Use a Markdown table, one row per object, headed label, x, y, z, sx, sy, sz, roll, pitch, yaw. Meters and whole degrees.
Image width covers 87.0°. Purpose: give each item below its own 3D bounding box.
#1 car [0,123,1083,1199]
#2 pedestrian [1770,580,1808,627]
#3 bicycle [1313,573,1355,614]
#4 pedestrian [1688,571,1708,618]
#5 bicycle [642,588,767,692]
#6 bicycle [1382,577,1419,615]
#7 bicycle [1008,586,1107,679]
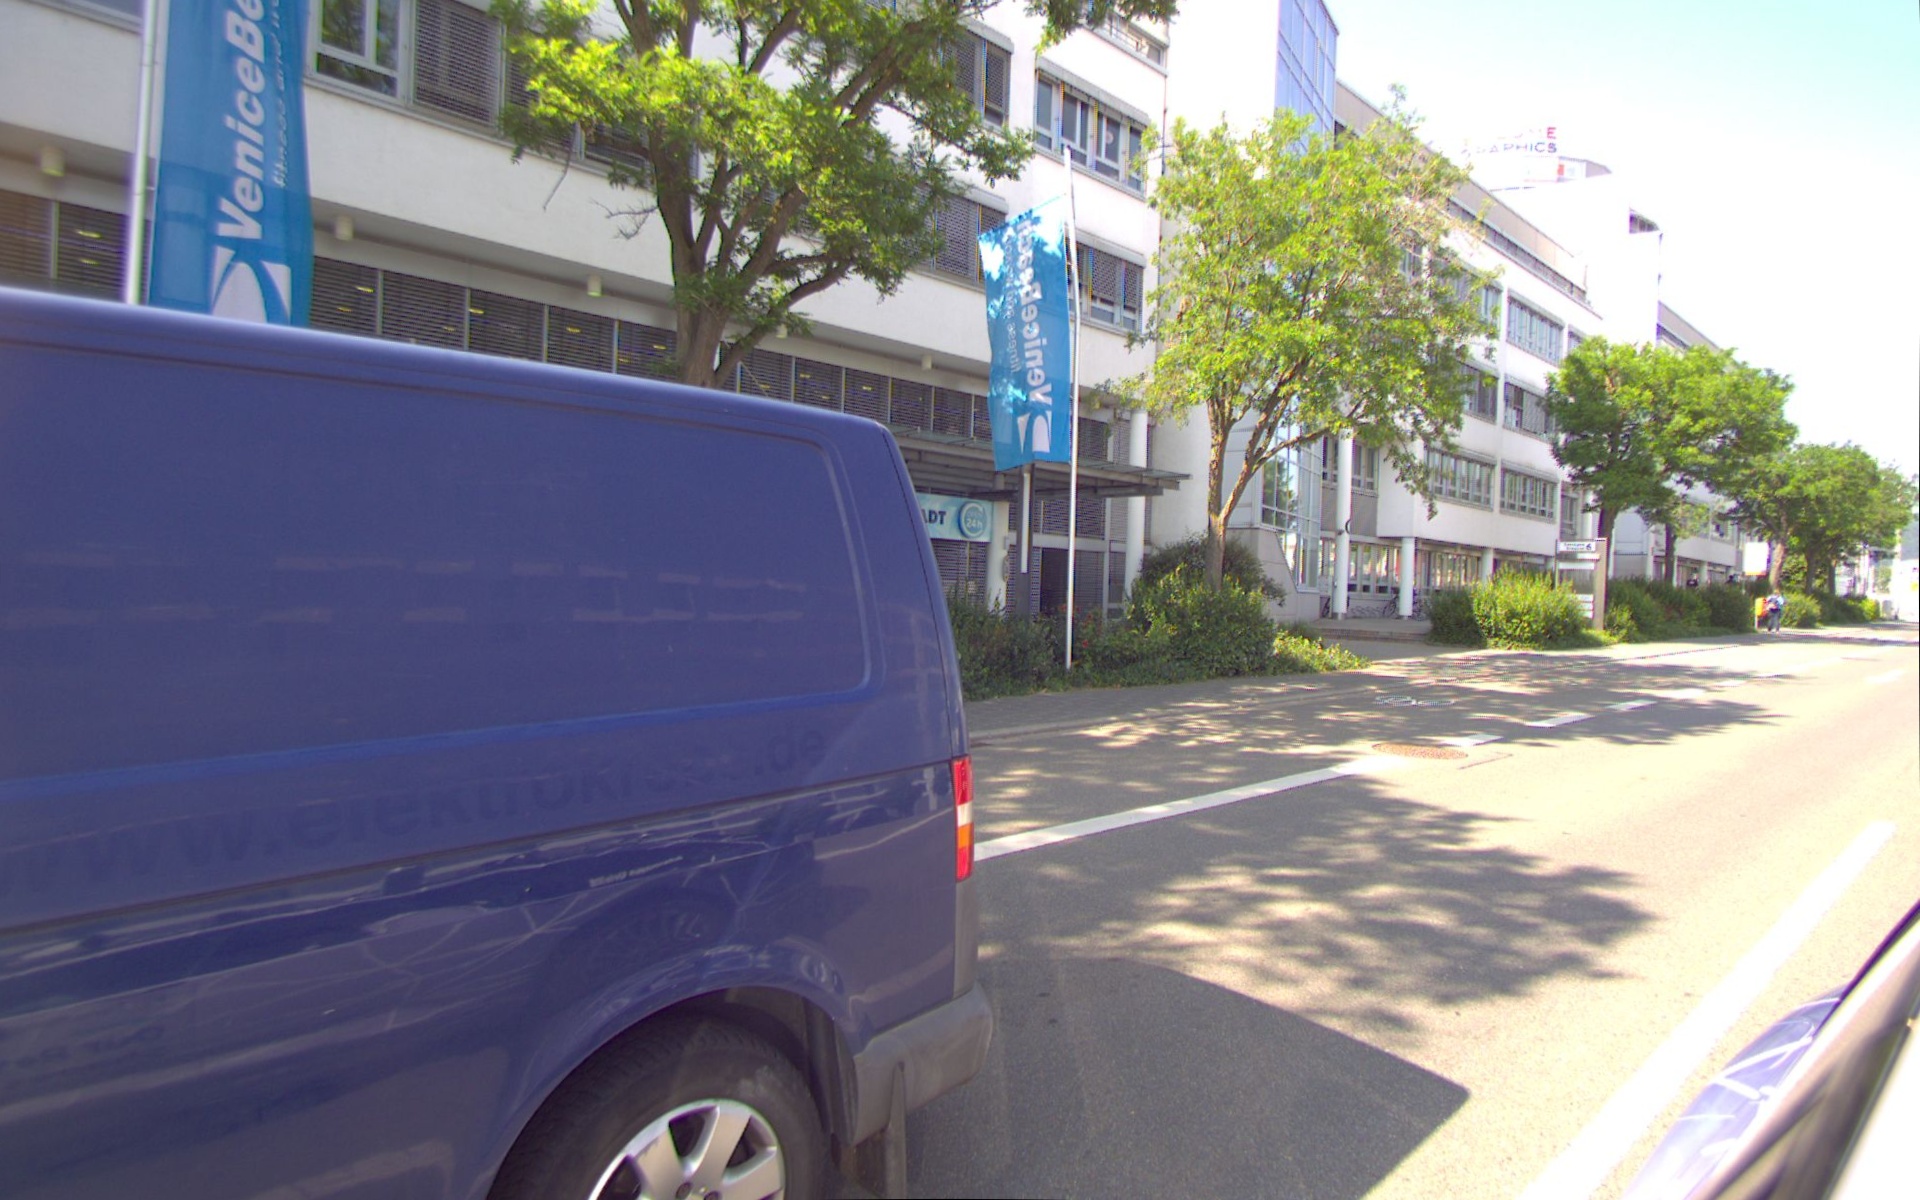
| label | x | y | z | sx | sy | sz | roll | pitch | yaw |
| --- | --- | --- | --- | --- | --- | --- | --- | --- | --- |
| car | -2.172 | 0.410 | 1.594 | 4.806 | 1.972 | 1.997 | -1 | 2 | -41 |
| pedestrian | 35.174 | 0.150 | 42.950 | 1.267 | 1.909 | 0.942 | 0 | 4 | -41 |
| bicycle | 12.893 | -0.216 | 34.883 | 1.852 | 1.371 | 0.506 | 0 | 1 | -41 |
| pedestrian | 40.638 | -0.314 | 55.736 | 0.704 | 2.581 | 0.716 | 0 | 1 | -43 |
| bicycle | -3.644 | 0.538 | 14.370 | 1.868 | 1.346 | 0.501 | 2 | 1 | 30 |
| bicycle | 16.334 | -0.148 | 37.506 | 1.852 | 1.371 | 0.506 | 0 | 1 | -41 |
| bicycle | 1.533 | 0.479 | 15.647 | 0.504 | 1.346 | 1.856 | 2 | 1 | 41 |
